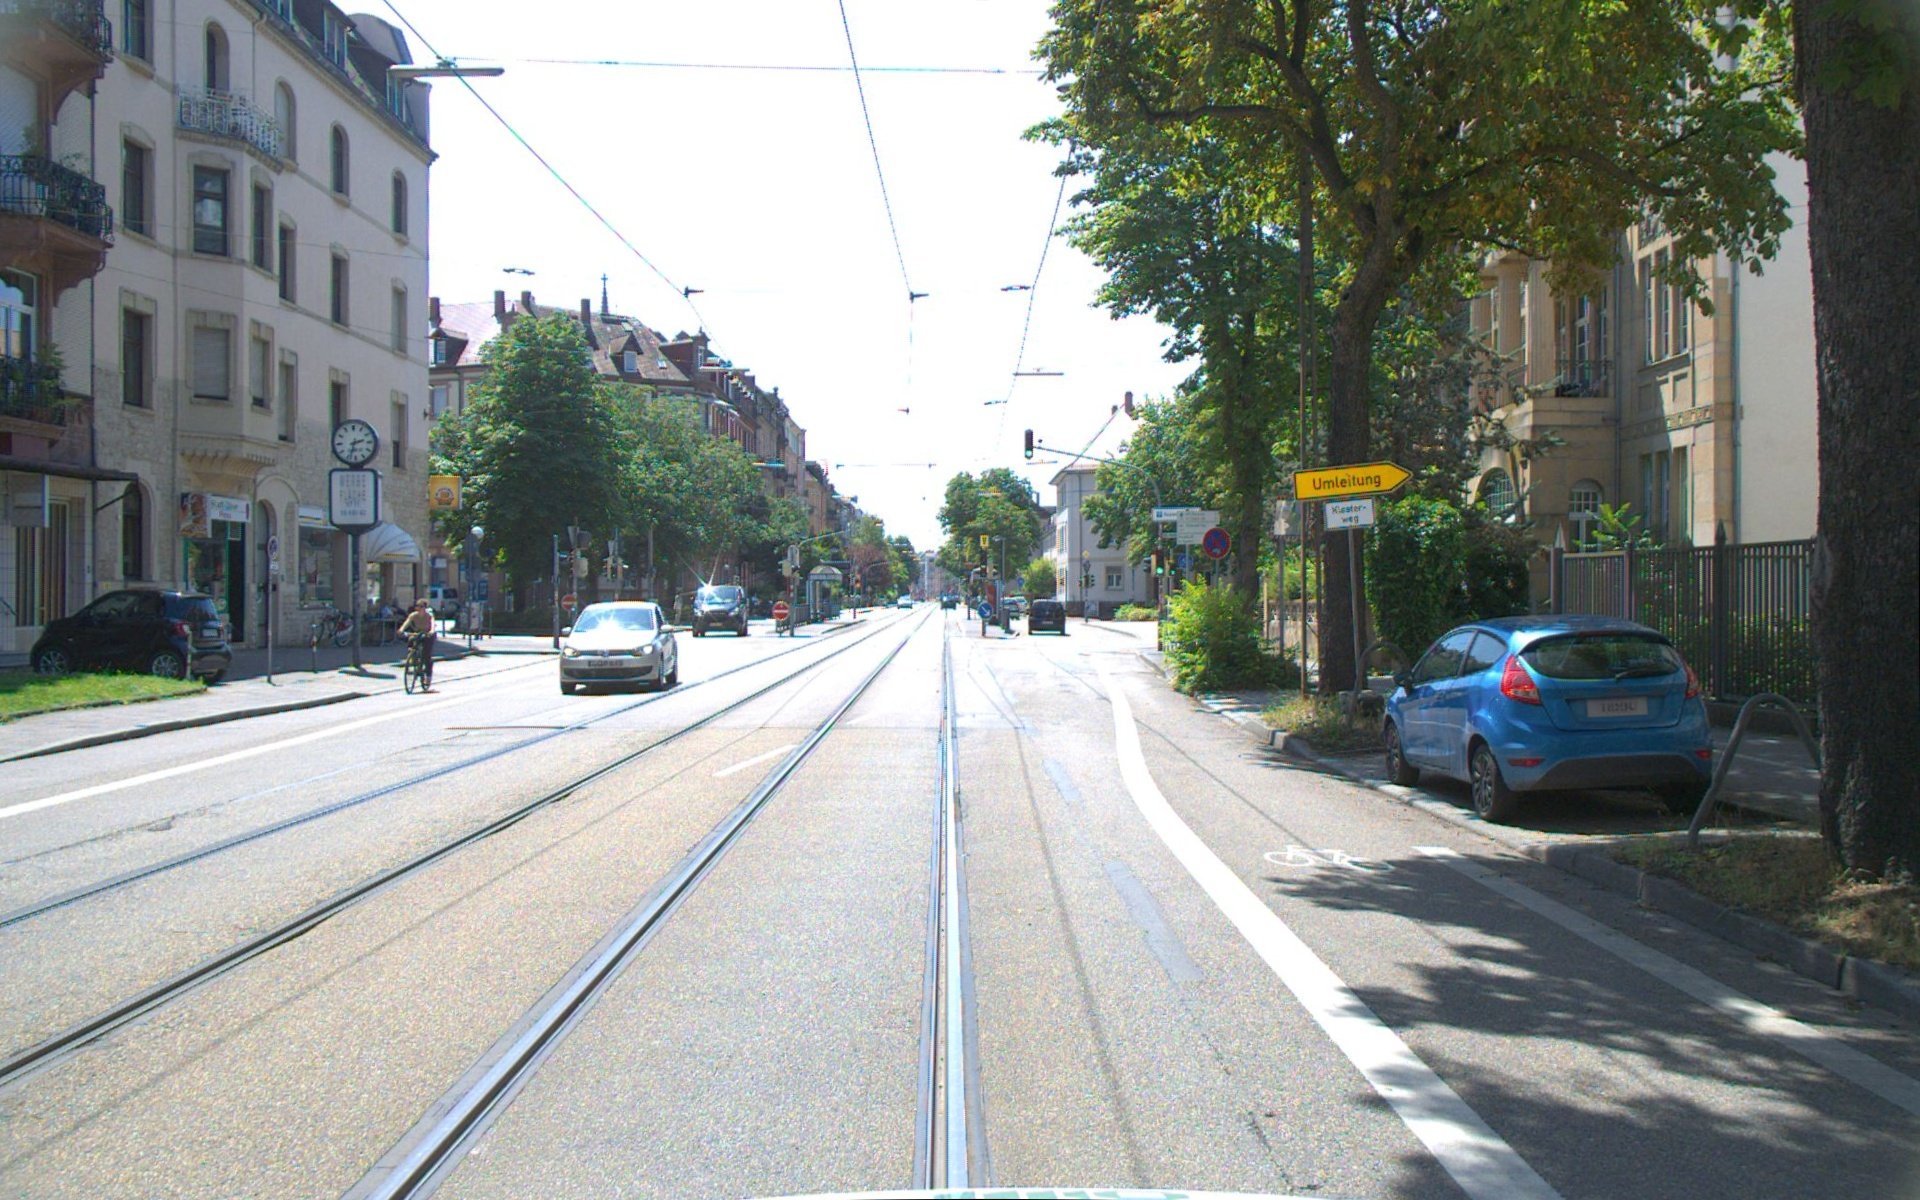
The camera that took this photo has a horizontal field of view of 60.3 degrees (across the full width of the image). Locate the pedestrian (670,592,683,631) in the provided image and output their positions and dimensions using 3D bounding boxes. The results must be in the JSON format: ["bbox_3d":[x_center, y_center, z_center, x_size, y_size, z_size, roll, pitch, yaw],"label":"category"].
[{"bbox_3d":[-14.238,0.580,83.068,0.500,1.912,0.494,1,-1,3],"label":"pedestrian"}]

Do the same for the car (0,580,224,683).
[{"bbox_3d":[-14.090,0.501,27.115,3.284,1.497,1.530,3,0,3],"label":"car"}]

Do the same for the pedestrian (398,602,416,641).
[{"bbox_3d":[-16.501,0.637,49.368,0.397,1.168,0.405,1,-1,-4],"label":"pedestrian"}]

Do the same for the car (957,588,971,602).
[{"bbox_3d":[0.623,-0.707,251.860,1.953,2.049,3.999,1,0,-1],"label":"car"}]

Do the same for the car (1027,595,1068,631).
[{"bbox_3d":[3.722,0.565,71.026,1.494,1.470,3.364,-1,0,-1],"label":"car"}]

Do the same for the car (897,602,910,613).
[{"bbox_3d":[-6.705,0.904,196.309,1.510,1.362,3.717,1,0,-3],"label":"car"}]

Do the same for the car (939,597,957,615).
[{"bbox_3d":[-1.398,0.722,188.771,2.005,2.049,4.606,1,0,-1],"label":"car"}]

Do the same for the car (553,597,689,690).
[{"bbox_3d":[-5.705,0.703,28.220,1.674,1.437,3.823,-1,0,-3],"label":"car"}]

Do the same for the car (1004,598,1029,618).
[{"bbox_3d":[4.490,0.646,132.586,1.712,1.498,3.937,-3,0,-2],"label":"car"}]

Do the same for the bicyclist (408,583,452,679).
[{"bbox_3d":[-9.453,0.538,29.485,0.597,1.692,0.579,0,0,-2],"label":"bicyclist"}]

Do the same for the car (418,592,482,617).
[{"bbox_3d":[-31.802,0.292,103.076,3.654,1.467,1.541,1,-1,23],"label":"car"}]

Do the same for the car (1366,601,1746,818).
[{"bbox_3d":[4.692,0.779,13.648,1.649,1.487,4.000,-1,0,0],"label":"car"}]

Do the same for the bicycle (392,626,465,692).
[{"bbox_3d":[-9.440,1.032,29.465,0.631,1.093,2.186,0,0,-1],"label":"bicycle"}]

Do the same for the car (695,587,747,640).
[{"bbox_3d":[-9.399,0.549,65.339,1.808,1.971,4.816,-1,0,-6],"label":"car"}]

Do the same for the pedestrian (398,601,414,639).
[{"bbox_3d":[-16.182,0.592,48.315,0.347,1.108,0.405,1,-1,-4],"label":"pedestrian"}]

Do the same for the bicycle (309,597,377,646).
[{"bbox_3d":[-16.219,0.558,43.538,0.444,1.246,2.080,1,0,18],"label":"bicycle"}]

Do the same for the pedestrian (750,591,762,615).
[{"bbox_3d":[-14.510,0.223,117.392,0.648,1.643,0.462,1,2,-44],"label":"pedestrian"}]

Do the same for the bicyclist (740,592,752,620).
[{"bbox_3d":[-12.110,0.341,93.696,0.596,1.601,0.585,1,-1,-1],"label":"bicyclist"}]

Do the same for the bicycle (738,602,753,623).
[{"bbox_3d":[-12.144,0.713,93.569,0.615,1.177,1.977,1,0,-1],"label":"bicycle"}]

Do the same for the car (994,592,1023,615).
[{"bbox_3d":[3.303,0.226,112.535,1.495,1.481,3.360,-1,0,-6],"label":"car"}]
